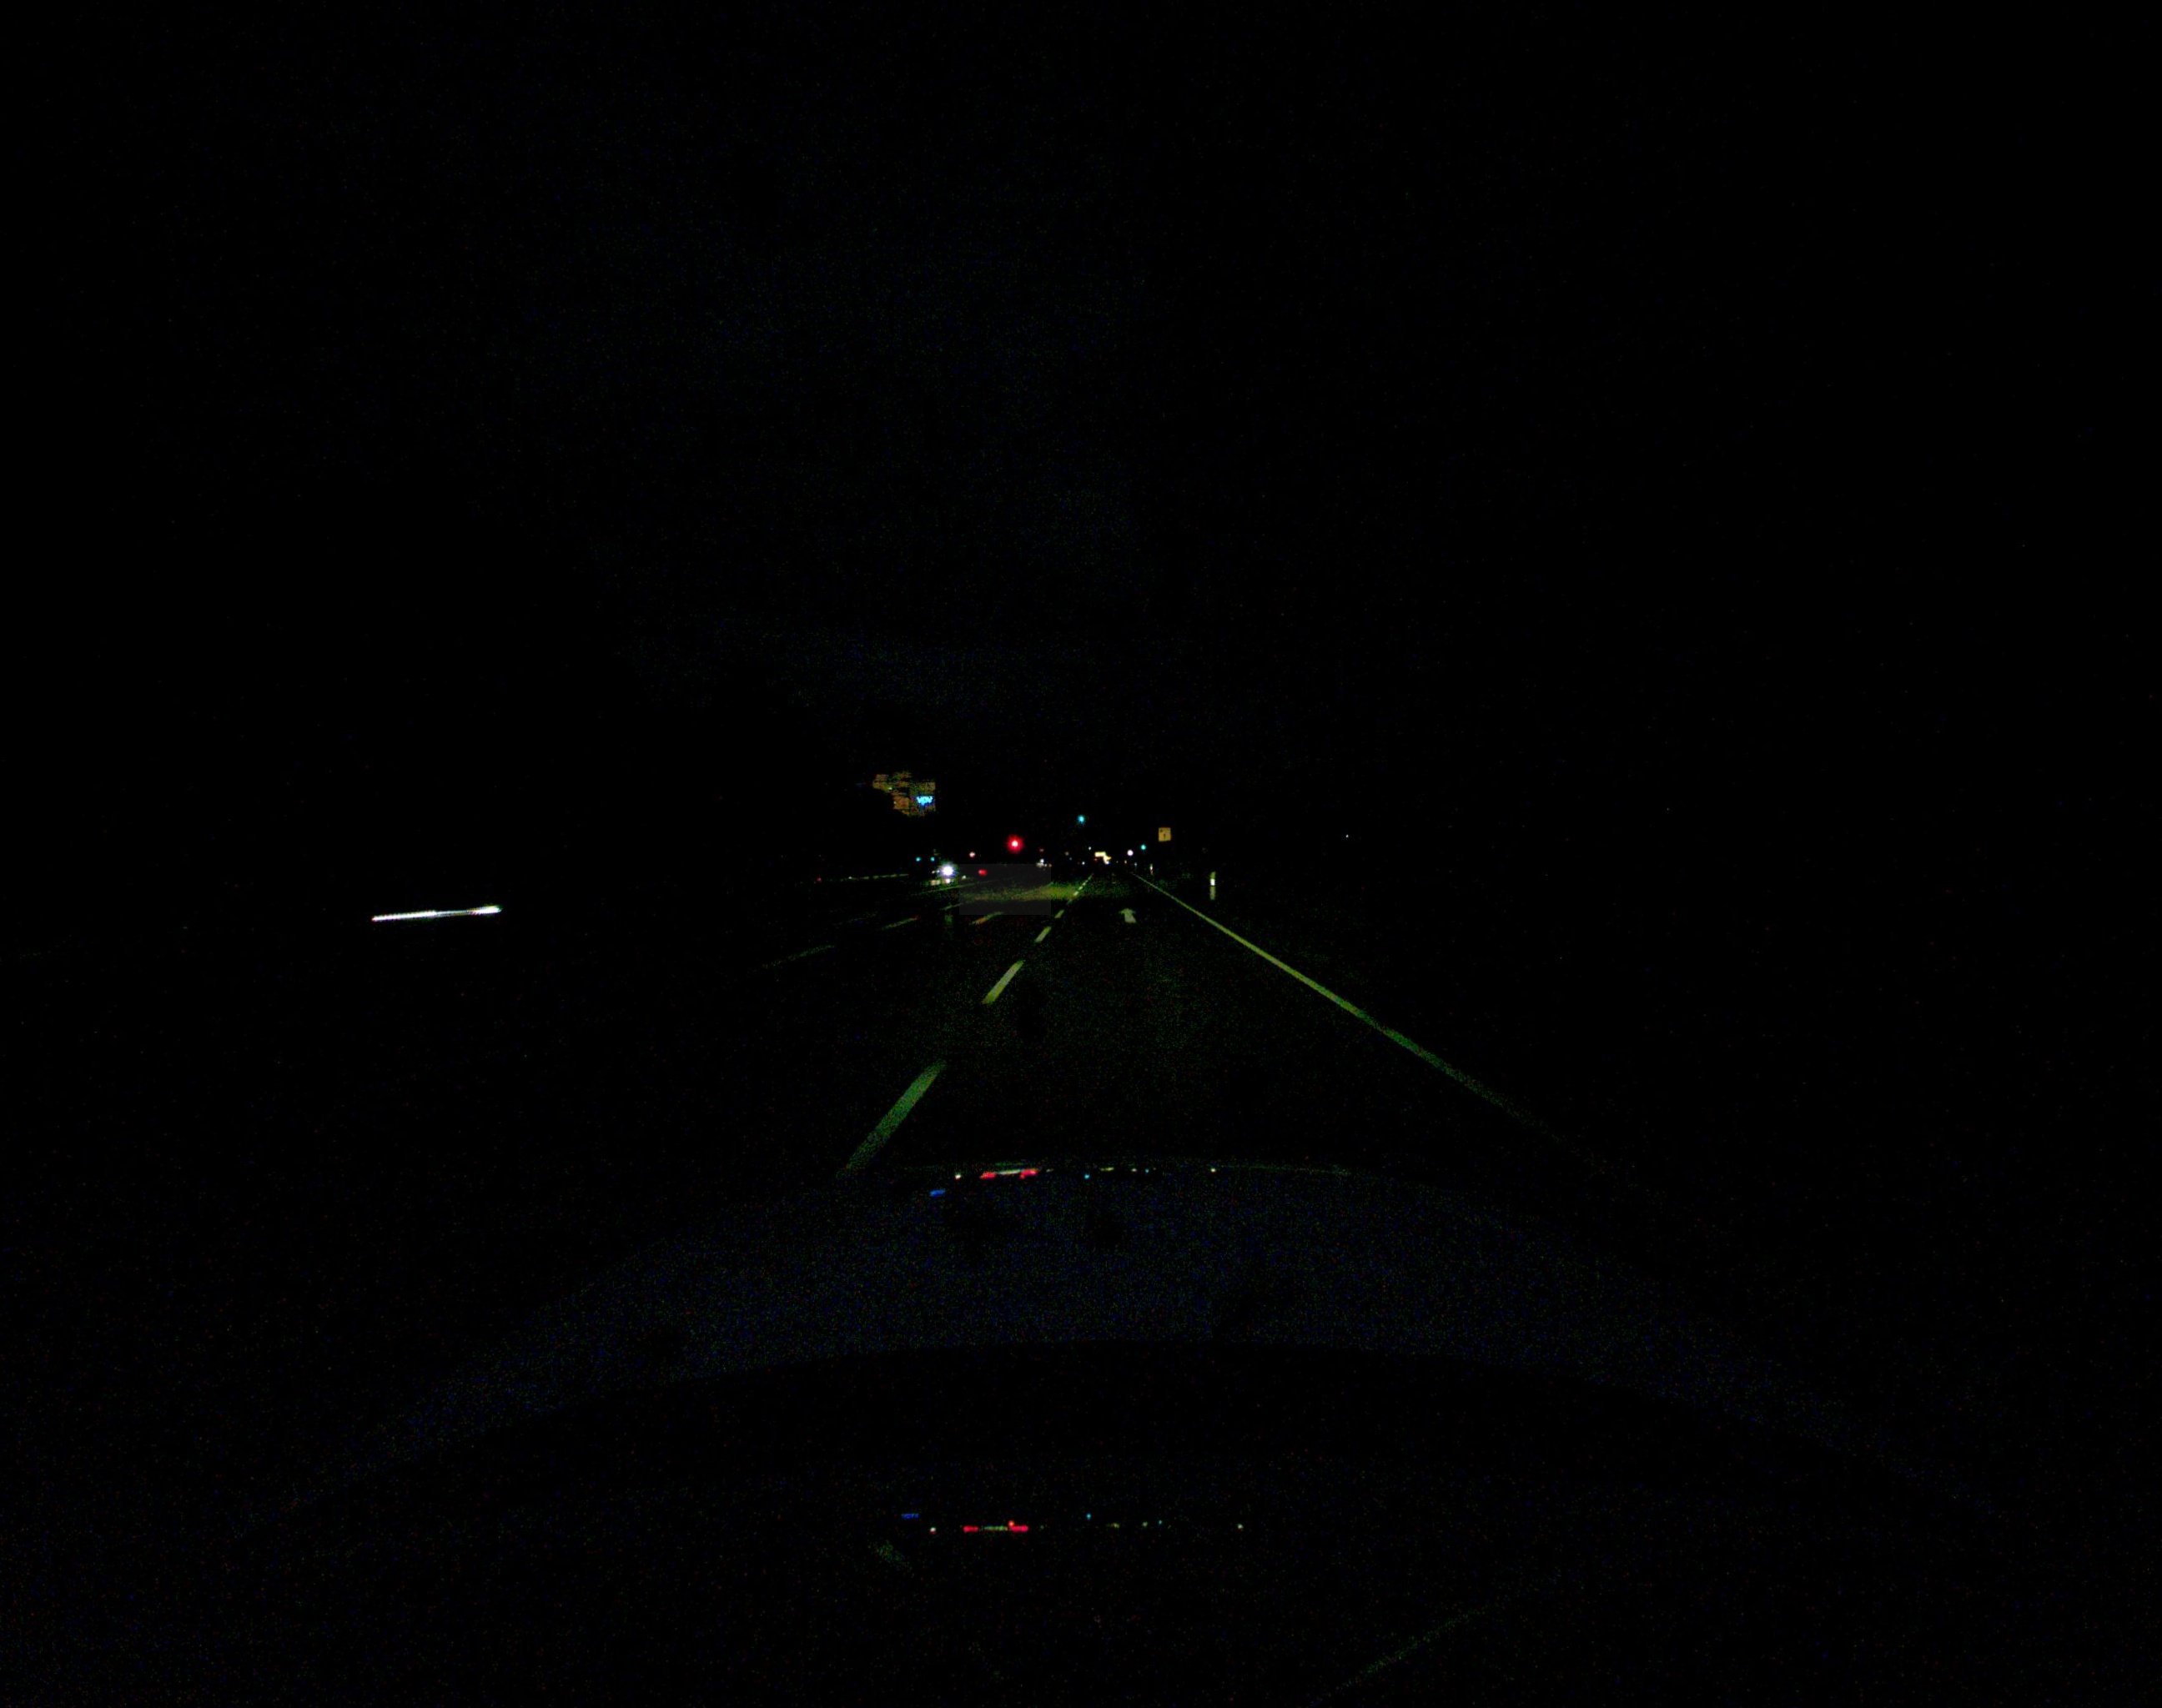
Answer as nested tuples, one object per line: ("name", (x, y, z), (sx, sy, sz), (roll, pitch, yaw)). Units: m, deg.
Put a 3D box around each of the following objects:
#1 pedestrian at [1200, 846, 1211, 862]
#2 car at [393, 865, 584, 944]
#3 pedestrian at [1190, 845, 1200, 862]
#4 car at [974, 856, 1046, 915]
("pedestrian", (13.954, -0.019, 91.133), (1.087, 1.723, 1.260), (-1, -1, 1))
("car", (-14.752, 1.183, 20.614), (1.607, 1.723, 4.316), (-1, 0, 1))
("pedestrian", (12.785, -0.055, 91.230), (0.918, 1.793, 1.106), (-1, 0, 1))
("car", (-1.976, 0.845, 23.924), (1.636, 1.490, 4.580), (-1, 0, 1))
